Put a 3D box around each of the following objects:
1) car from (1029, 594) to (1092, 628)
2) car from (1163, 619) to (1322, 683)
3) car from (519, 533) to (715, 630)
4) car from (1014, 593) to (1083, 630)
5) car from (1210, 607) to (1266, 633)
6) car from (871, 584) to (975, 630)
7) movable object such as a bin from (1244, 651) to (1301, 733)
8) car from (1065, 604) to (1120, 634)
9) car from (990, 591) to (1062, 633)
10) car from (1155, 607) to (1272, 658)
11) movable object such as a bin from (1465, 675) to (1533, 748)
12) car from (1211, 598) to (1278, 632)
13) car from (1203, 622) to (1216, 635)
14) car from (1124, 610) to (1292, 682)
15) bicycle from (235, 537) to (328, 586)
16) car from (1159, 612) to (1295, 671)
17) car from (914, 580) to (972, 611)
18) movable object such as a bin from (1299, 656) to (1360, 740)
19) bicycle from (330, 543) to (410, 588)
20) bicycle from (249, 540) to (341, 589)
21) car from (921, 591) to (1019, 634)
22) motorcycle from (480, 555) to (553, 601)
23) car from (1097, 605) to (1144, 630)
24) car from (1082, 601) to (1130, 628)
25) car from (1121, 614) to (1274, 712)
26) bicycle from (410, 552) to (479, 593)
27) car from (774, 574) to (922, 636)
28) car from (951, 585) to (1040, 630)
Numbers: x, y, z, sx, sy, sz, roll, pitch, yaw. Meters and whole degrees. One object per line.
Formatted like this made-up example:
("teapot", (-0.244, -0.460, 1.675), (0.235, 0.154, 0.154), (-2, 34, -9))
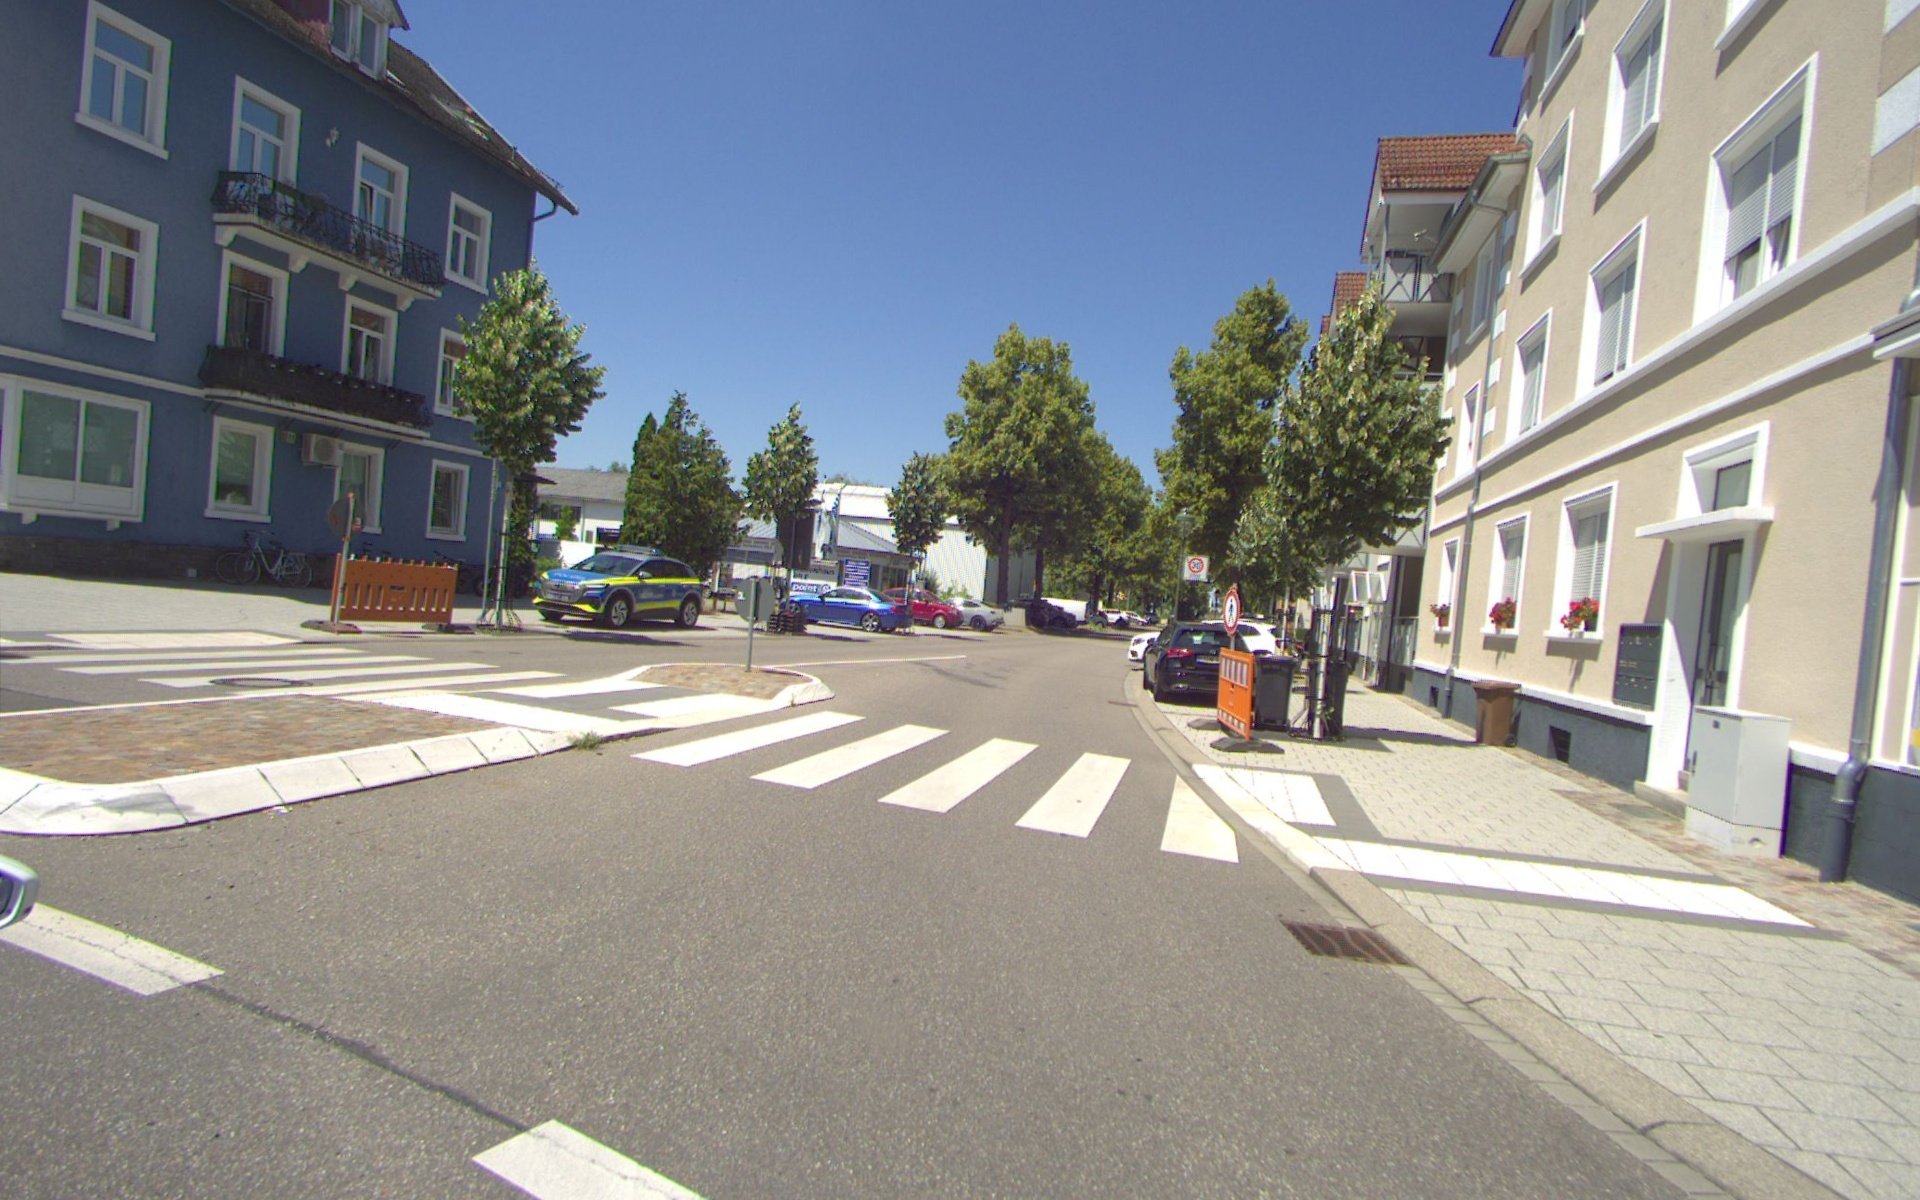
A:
("car", (6.999, 0.753, 69.940), (3.924, 1.886, 1.997), (6, 3, 16))
("car", (8.164, 1.425, 29.185), (4.215, 1.454, 1.906), (4, 1, 17))
("car", (-7.528, -0.336, 22.549), (1.870, 1.765, 4.249), (7, 1, 17))
("car", (5.668, 0.694, 64.278), (3.924, 1.886, 1.997), (6, 3, 16))
("car", (27.706, 1.967, 100.583), (5.173, 2.039, 2.237), (6, 1, 14))
("car", (-1.557, 0.297, 43.171), (3.924, 1.549, 2.000), (6, 1, 16))
("movable object such as a bin", (4.480, 1.304, 14.446), (0.658, 1.069, 0.704), (4, 1, 12))
("car", (10.268, 1.440, 77.595), (3.923, 1.886, 1.998), (6, 3, 12))
("car", (3.912, 0.736, 59.245), (3.923, 2.038, 2.001), (6, -1, 10))
("car", (9.872, 1.245, 39.144), (4.215, 1.596, 1.906), (4, 1, 17))
("movable object such as a bin", (7.870, 1.618, 14.714), (0.644, 0.947, 0.579), (4, 1, 5))
("car", (21.526, 1.128, 76.336), (4.652, 2.039, 2.000), (6, 1, 14))
("car", (42.577, 4.826, 171.490), (1.962, 2.039, 4.000), (6, 0, 14))
("car", (6.754, 1.215, 27.422), (4.215, 1.543, 1.906), (4, 1, 17))
("bicycle", (-14.841, -0.829, 22.054), (0.432, 0.918, 1.712), (8, 1, 17))
("car", (9.027, 1.361, 34.032), (4.215, 1.596, 1.906), (4, 1, 17))
("car", (-1.300, -0.356, 78.594), (3.925, 1.882, 2.001), (7, 0, 18))
("movable object such as a bin", (5.194, 1.366, 14.189), (0.630, 1.069, 0.704), (5, 1, 12))
("bicycle", (-14.125, -0.817, 24.137), (0.472, 0.918, 1.712), (8, 1, 17))
("bicycle", (-14.425, -0.754, 21.888), (0.432, 0.918, 1.712), (8, 1, 17))
("car", (0.479, 0.570, 45.241), (3.924, 1.465, 2.000), (6, 1, 16))
("motorcycle", (-12.059, -0.578, 27.427), (0.577, 1.065, 1.905), (8, 1, 20))
("car", (15.030, 1.601, 94.169), (3.924, 1.886, 1.997), (6, 3, 16))
("car", (12.819, 1.236, 88.383), (3.923, 1.886, 1.998), (6, 3, 10))
("car", (4.325, 1.085, 18.993), (1.870, 1.454, 4.171), (4, 0, 1))
("bicycle", (-13.492, -0.702, 26.389), (0.472, 0.918, 1.712), (8, 1, 17))
("car", (-3.676, 0.191, 33.358), (4.384, 1.497, 1.909), (6, -2, 13))
("car", (1.787, 0.385, 50.828), (3.926, 1.806, 1.999), (7, 1, 20))
